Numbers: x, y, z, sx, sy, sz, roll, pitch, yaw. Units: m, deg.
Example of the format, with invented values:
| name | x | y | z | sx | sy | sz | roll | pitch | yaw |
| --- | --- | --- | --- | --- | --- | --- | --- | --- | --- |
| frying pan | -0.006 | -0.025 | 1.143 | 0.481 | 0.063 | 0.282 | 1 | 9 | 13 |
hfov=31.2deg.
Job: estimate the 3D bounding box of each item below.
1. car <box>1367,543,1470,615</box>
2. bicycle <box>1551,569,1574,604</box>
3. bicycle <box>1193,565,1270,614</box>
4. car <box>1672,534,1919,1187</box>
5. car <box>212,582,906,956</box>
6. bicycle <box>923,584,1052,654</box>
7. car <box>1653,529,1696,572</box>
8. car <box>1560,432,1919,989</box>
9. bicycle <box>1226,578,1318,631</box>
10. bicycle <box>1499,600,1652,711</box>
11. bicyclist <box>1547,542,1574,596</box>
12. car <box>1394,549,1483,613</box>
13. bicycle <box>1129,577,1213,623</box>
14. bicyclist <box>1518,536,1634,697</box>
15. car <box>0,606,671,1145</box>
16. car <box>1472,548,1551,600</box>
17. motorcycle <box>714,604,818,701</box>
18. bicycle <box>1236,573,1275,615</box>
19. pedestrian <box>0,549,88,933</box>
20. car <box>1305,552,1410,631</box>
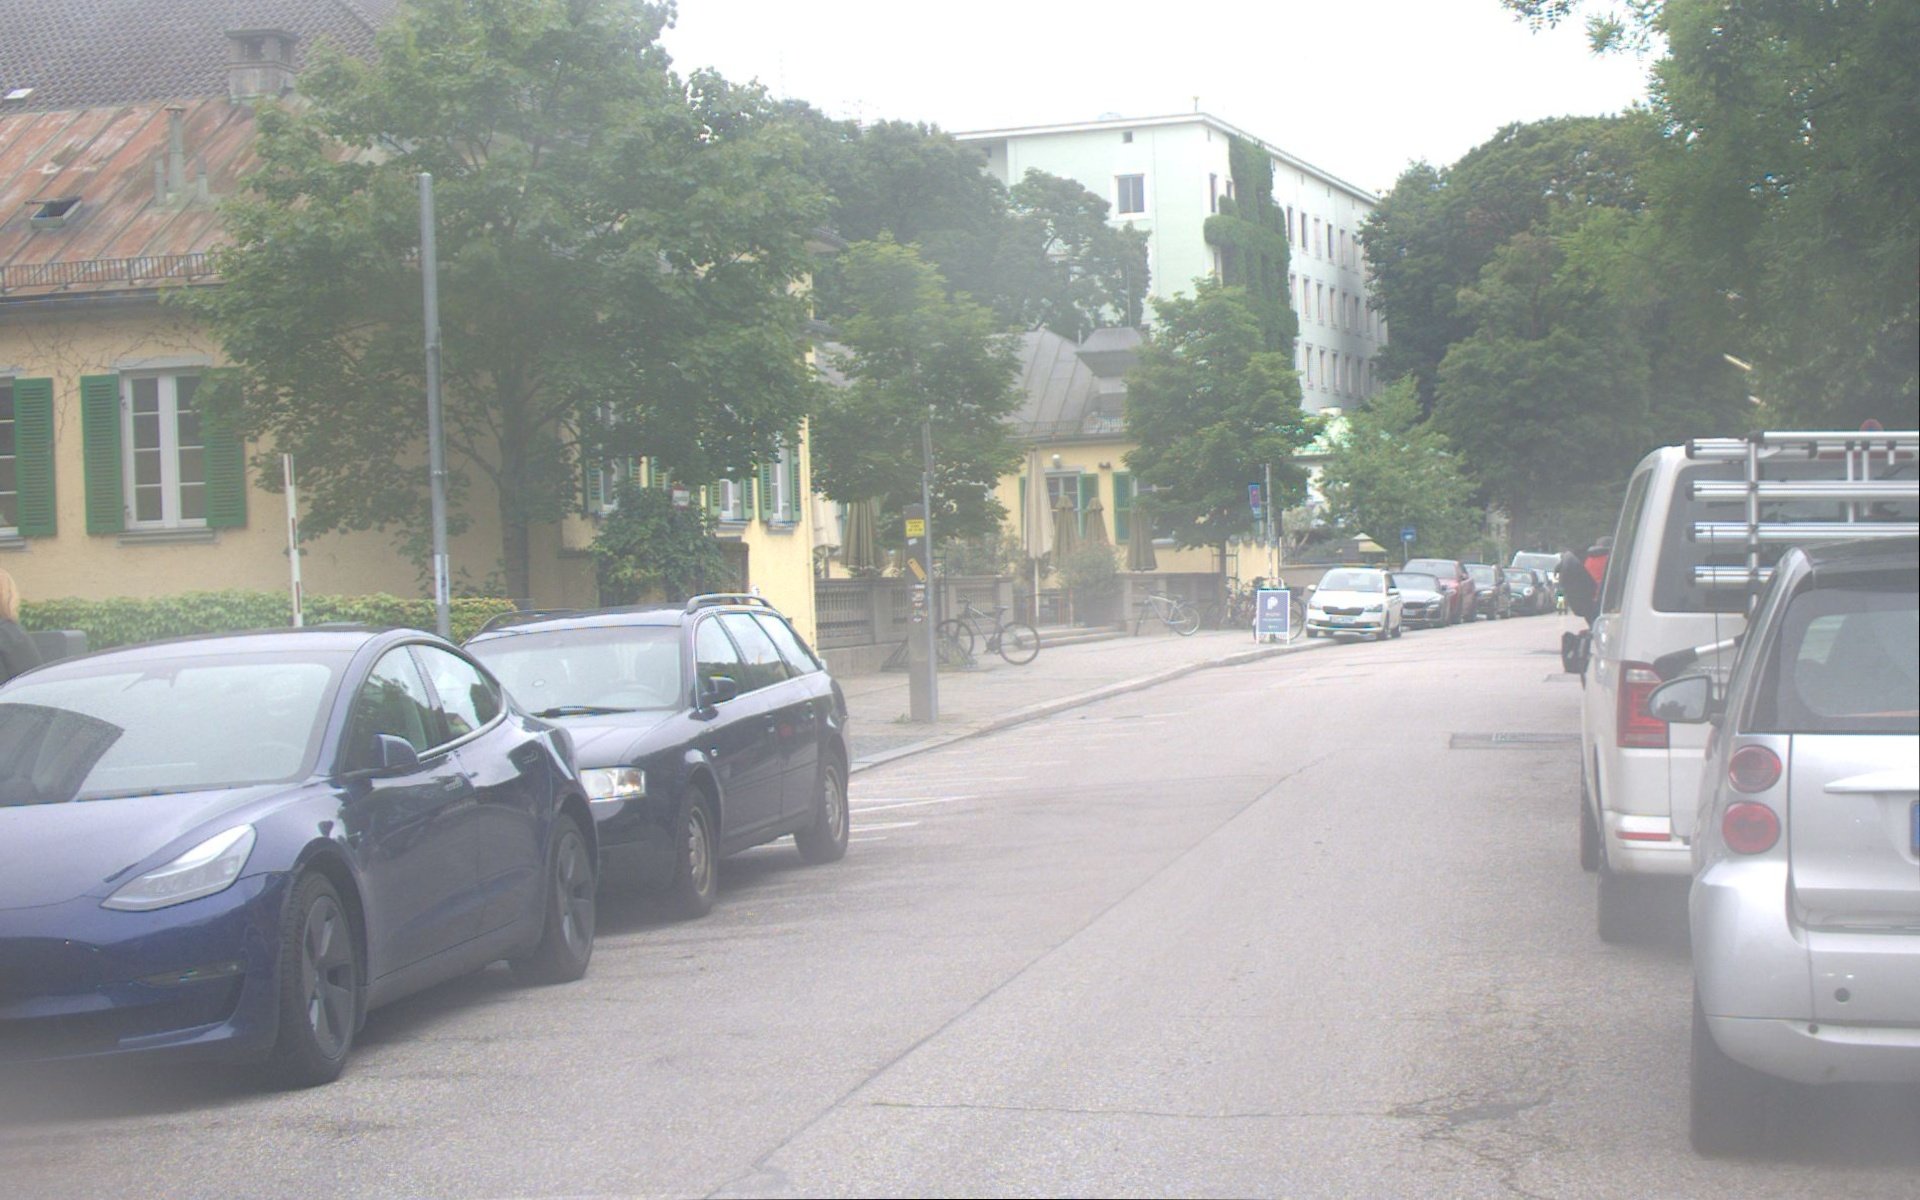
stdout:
| name | x | y | z | sx | sy | sz | roll | pitch | yaw |
| --- | --- | --- | --- | --- | --- | --- | --- | --- | --- |
| car | 11.320 | -0.533 | 84.642 | 1.995 | 1.643 | 4.652 | -2 | 1 | 13 |
| bicycle | 18.030 | -0.417 | 102.913 | 0.622 | 1.001 | 2.139 | -2 | 1 | 10 |
| bicycle | 6.268 | -0.246 | 79.279 | 1.613 | 1.000 | 0.623 | -5 | 2 | -28 |
| car | 2.817 | 0.589 | 9.493 | 1.606 | 1.541 | 2.932 | 0 | 1 | 11 |
| car | -1.811 | 0.737 | 17.425 | 1.994 | 1.486 | 4.881 | -4 | 0 | 11 |
| bicycle | 0.436 | 0.296 | 54.194 | 1.932 | 1.095 | 0.614 | 0 | 1 | 14 |
| car | 36.063 | -2.505 | 173.459 | 1.995 | 2.091 | 3.998 | 1 | 1 | 13 |
| car | 3.516 | 0.340 | 14.545 | 1.846 | 1.926 | 5.271 | 1 | 1 | 9 |
| bicycle | 6.204 | 0.077 | 68.231 | 0.623 | 1.001 | 2.134 | 2 | 2 | 44 |
| bicycle | 5.890 | 0.516 | 32.819 | 0.622 | 1.001 | 2.136 | -3 | -1 | 33 |
| bicyclist | 17.979 | -0.935 | 102.938 | 0.743 | 1.570 | 0.977 | -2 | 1 | 9 |
| car | 12.512 | -0.488 | 89.795 | 1.994 | 1.597 | 3.998 | -2 | 0 | 12 |
| bicycle | 4.477 | -0.002 | 72.914 | 1.613 | 0.922 | 0.651 | -2 | -1 | -14 |
| bicyclist | 5.896 | 0.160 | 32.861 | 0.673 | 1.492 | 1.093 | -3 | -1 | 33 |
| car | -2.591 | 0.827 | 12.220 | 1.923 | 1.434 | 4.916 | -4 | 0 | 9 |
| car | 17.160 | -0.815 | 106.856 | 1.995 | 1.481 | 3.997 | -2 | 1 | 15 |
| motorcycle | -2.302 | 0.612 | 40.622 | 0.557 | 1.097 | 1.838 | -1 | 1 | -26 |
| bicycle | 7.266 | -0.135 | 84.558 | 0.622 | 1.001 | 1.617 | -2 | -1 | 16 |
| pedestrian | -4.571 | 0.648 | 16.093 | 0.753 | 1.743 | 0.953 | -2 | 0 | -5 |
| car | 8.404 | -0.197 | 72.393 | 1.735 | 1.576 | 3.785 | 1 | 1 | 13 |
